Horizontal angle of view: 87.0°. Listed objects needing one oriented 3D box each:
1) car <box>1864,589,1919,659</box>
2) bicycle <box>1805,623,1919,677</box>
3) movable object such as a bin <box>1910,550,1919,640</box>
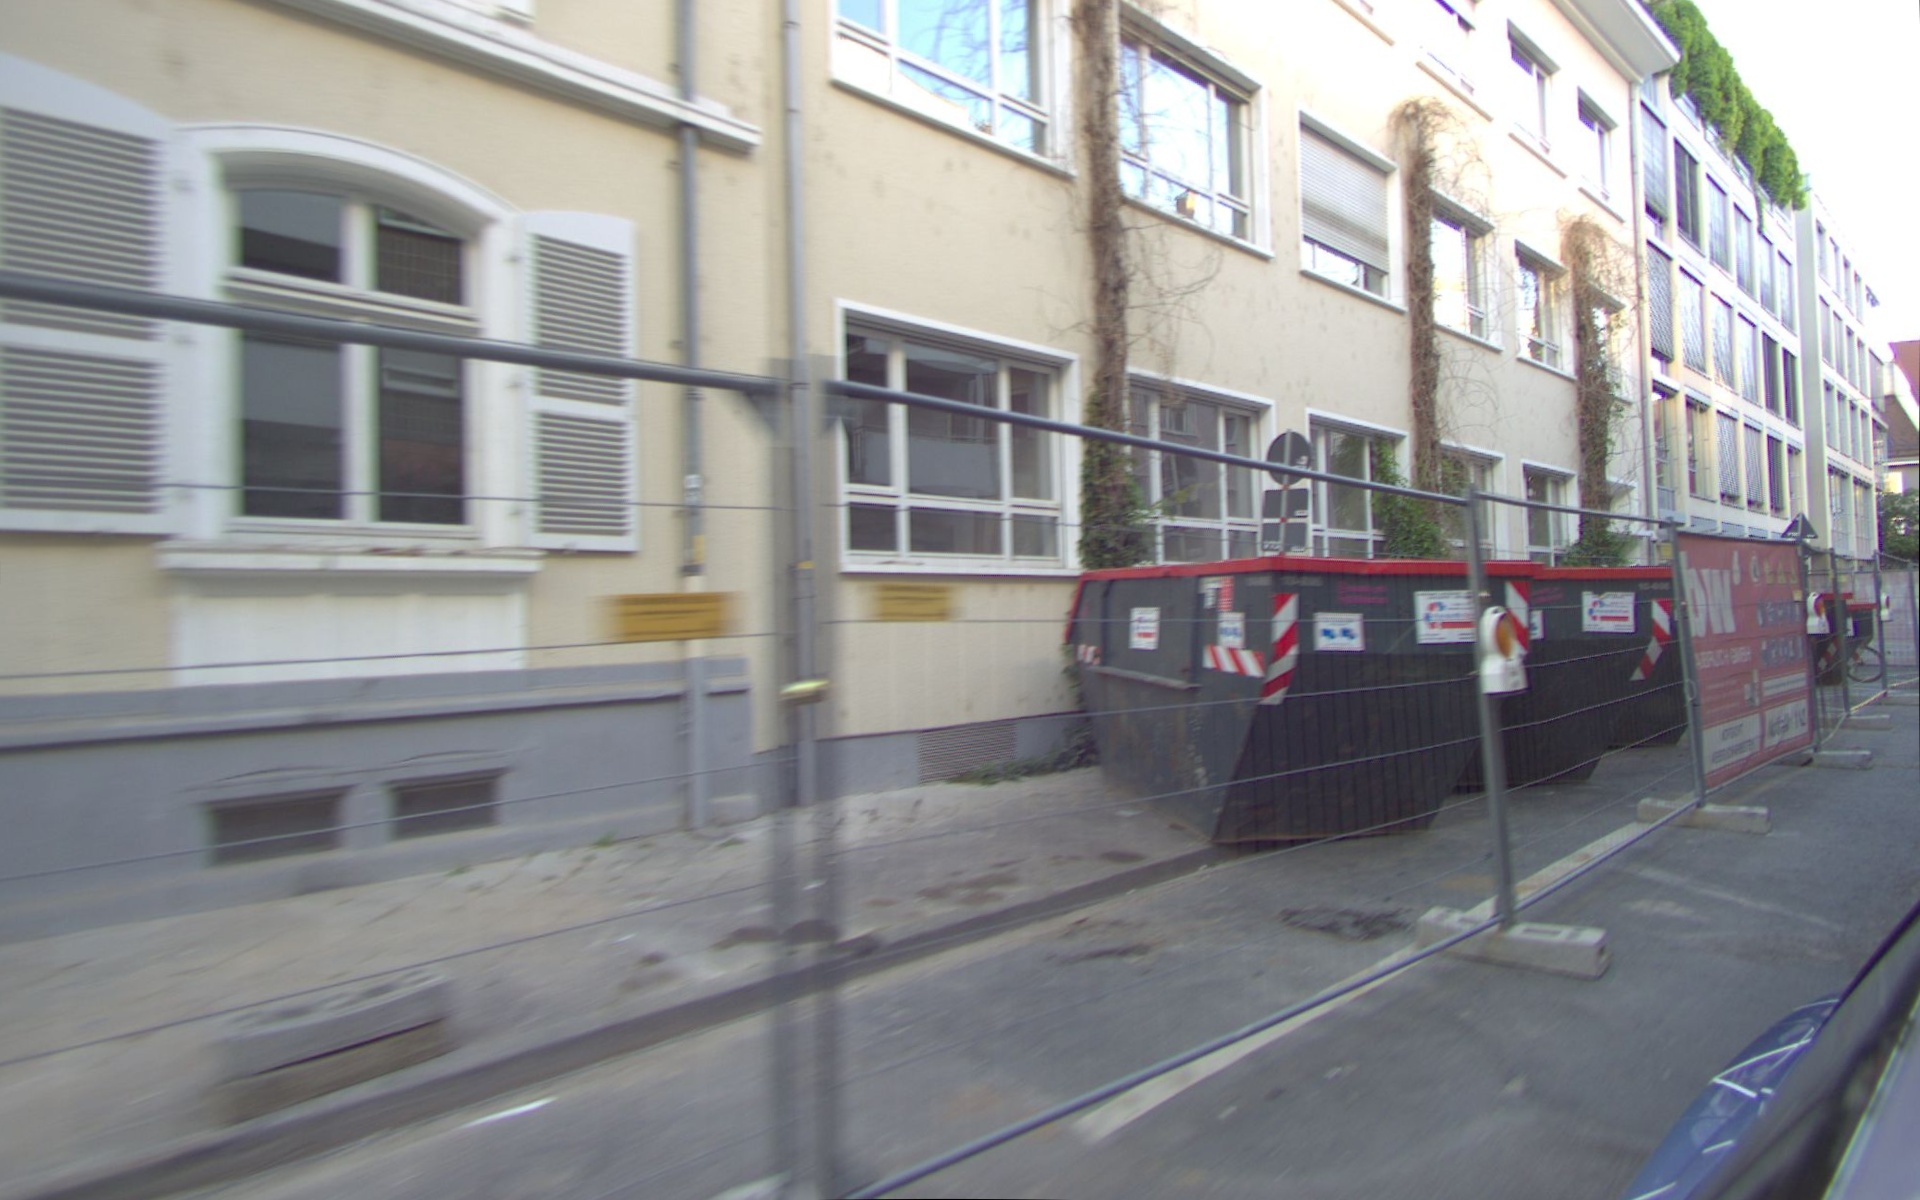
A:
[{"bbox_3d":[22.495,0.485,23.394,4.369,1.491,1.789,-1,-4,-41],"label":"car"},{"bbox_3d":[16.178,0.888,18.217,0.451,0.920,1.805,-2,-2,3],"label":"bicycle"},{"bbox_3d":[31.383,-0.218,31.395,5.649,2.658,2.018,0,-4,-41],"label":"movable object such as a bin"}]
